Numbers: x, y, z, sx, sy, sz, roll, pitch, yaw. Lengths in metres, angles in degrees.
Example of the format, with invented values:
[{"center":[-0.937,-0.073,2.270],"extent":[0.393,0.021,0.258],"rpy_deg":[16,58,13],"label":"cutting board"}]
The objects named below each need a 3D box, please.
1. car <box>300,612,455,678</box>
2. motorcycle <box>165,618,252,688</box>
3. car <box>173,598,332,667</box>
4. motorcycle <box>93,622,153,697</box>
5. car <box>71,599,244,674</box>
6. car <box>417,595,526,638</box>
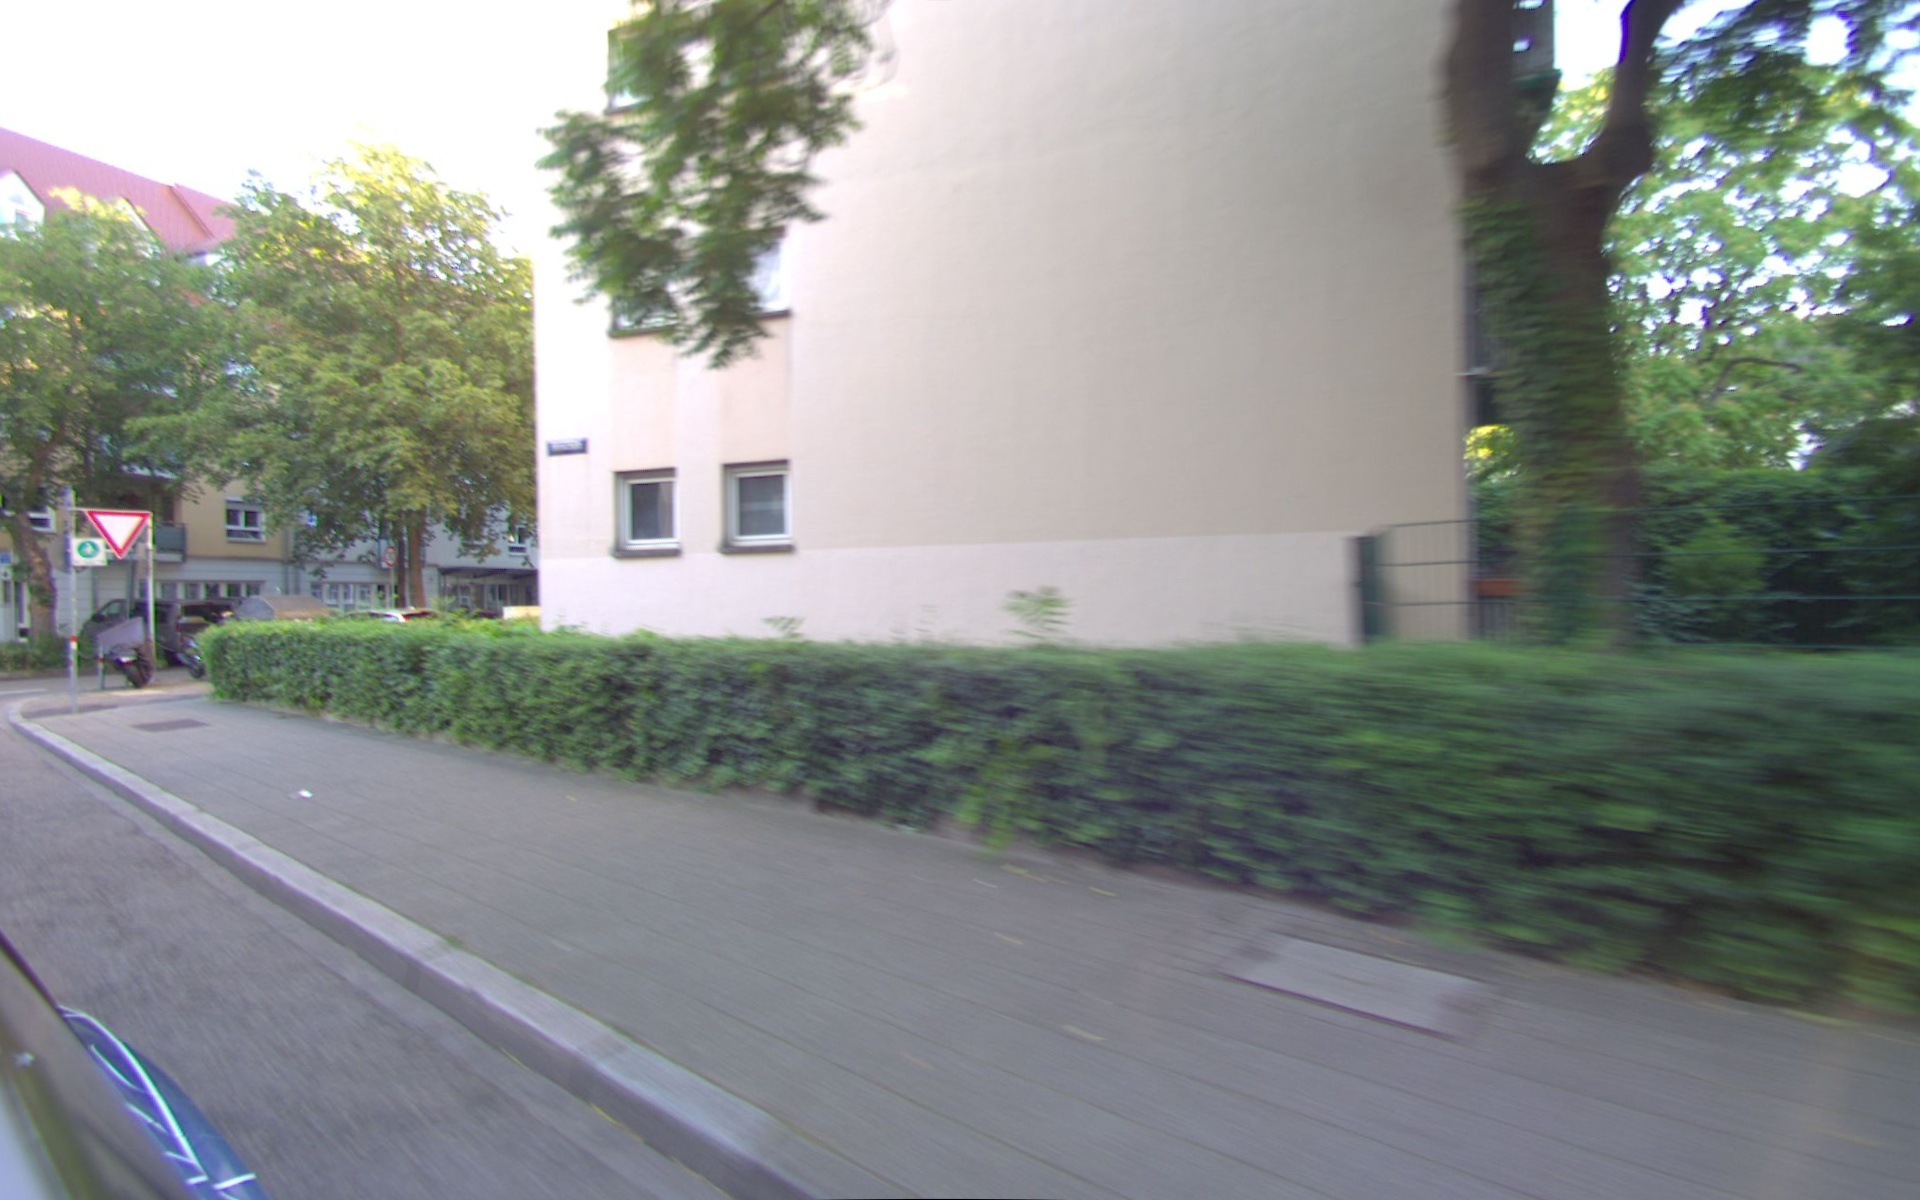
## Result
[{"center":[-14.379,1.095,24.977],"extent":[3.481,1.518,1.619],"rpy_deg":[-2,0,25],"label":"car"},{"center":[-15.922,1.111,21.428],"extent":[1.958,1.417,0.567],"rpy_deg":[-1,-1,23],"label":"motorcycle"},{"center":[-23.150,1.013,33.146],"extent":[4.296,2.092,2.214],"rpy_deg":[1,0,20],"label":"car"},{"center":[-16.303,1.123,19.739],"extent":[0.846,1.363,1.962],"rpy_deg":[-1,-1,-39],"label":"motorcycle"},{"center":[-24.483,1.054,30.915],"extent":[4.296,2.092,2.214],"rpy_deg":[1,0,20],"label":"car"},{"center":[-20.654,0.654,42.803],"extent":[3.972,1.741,1.986],"rpy_deg":[0,1,22],"label":"car"}]
